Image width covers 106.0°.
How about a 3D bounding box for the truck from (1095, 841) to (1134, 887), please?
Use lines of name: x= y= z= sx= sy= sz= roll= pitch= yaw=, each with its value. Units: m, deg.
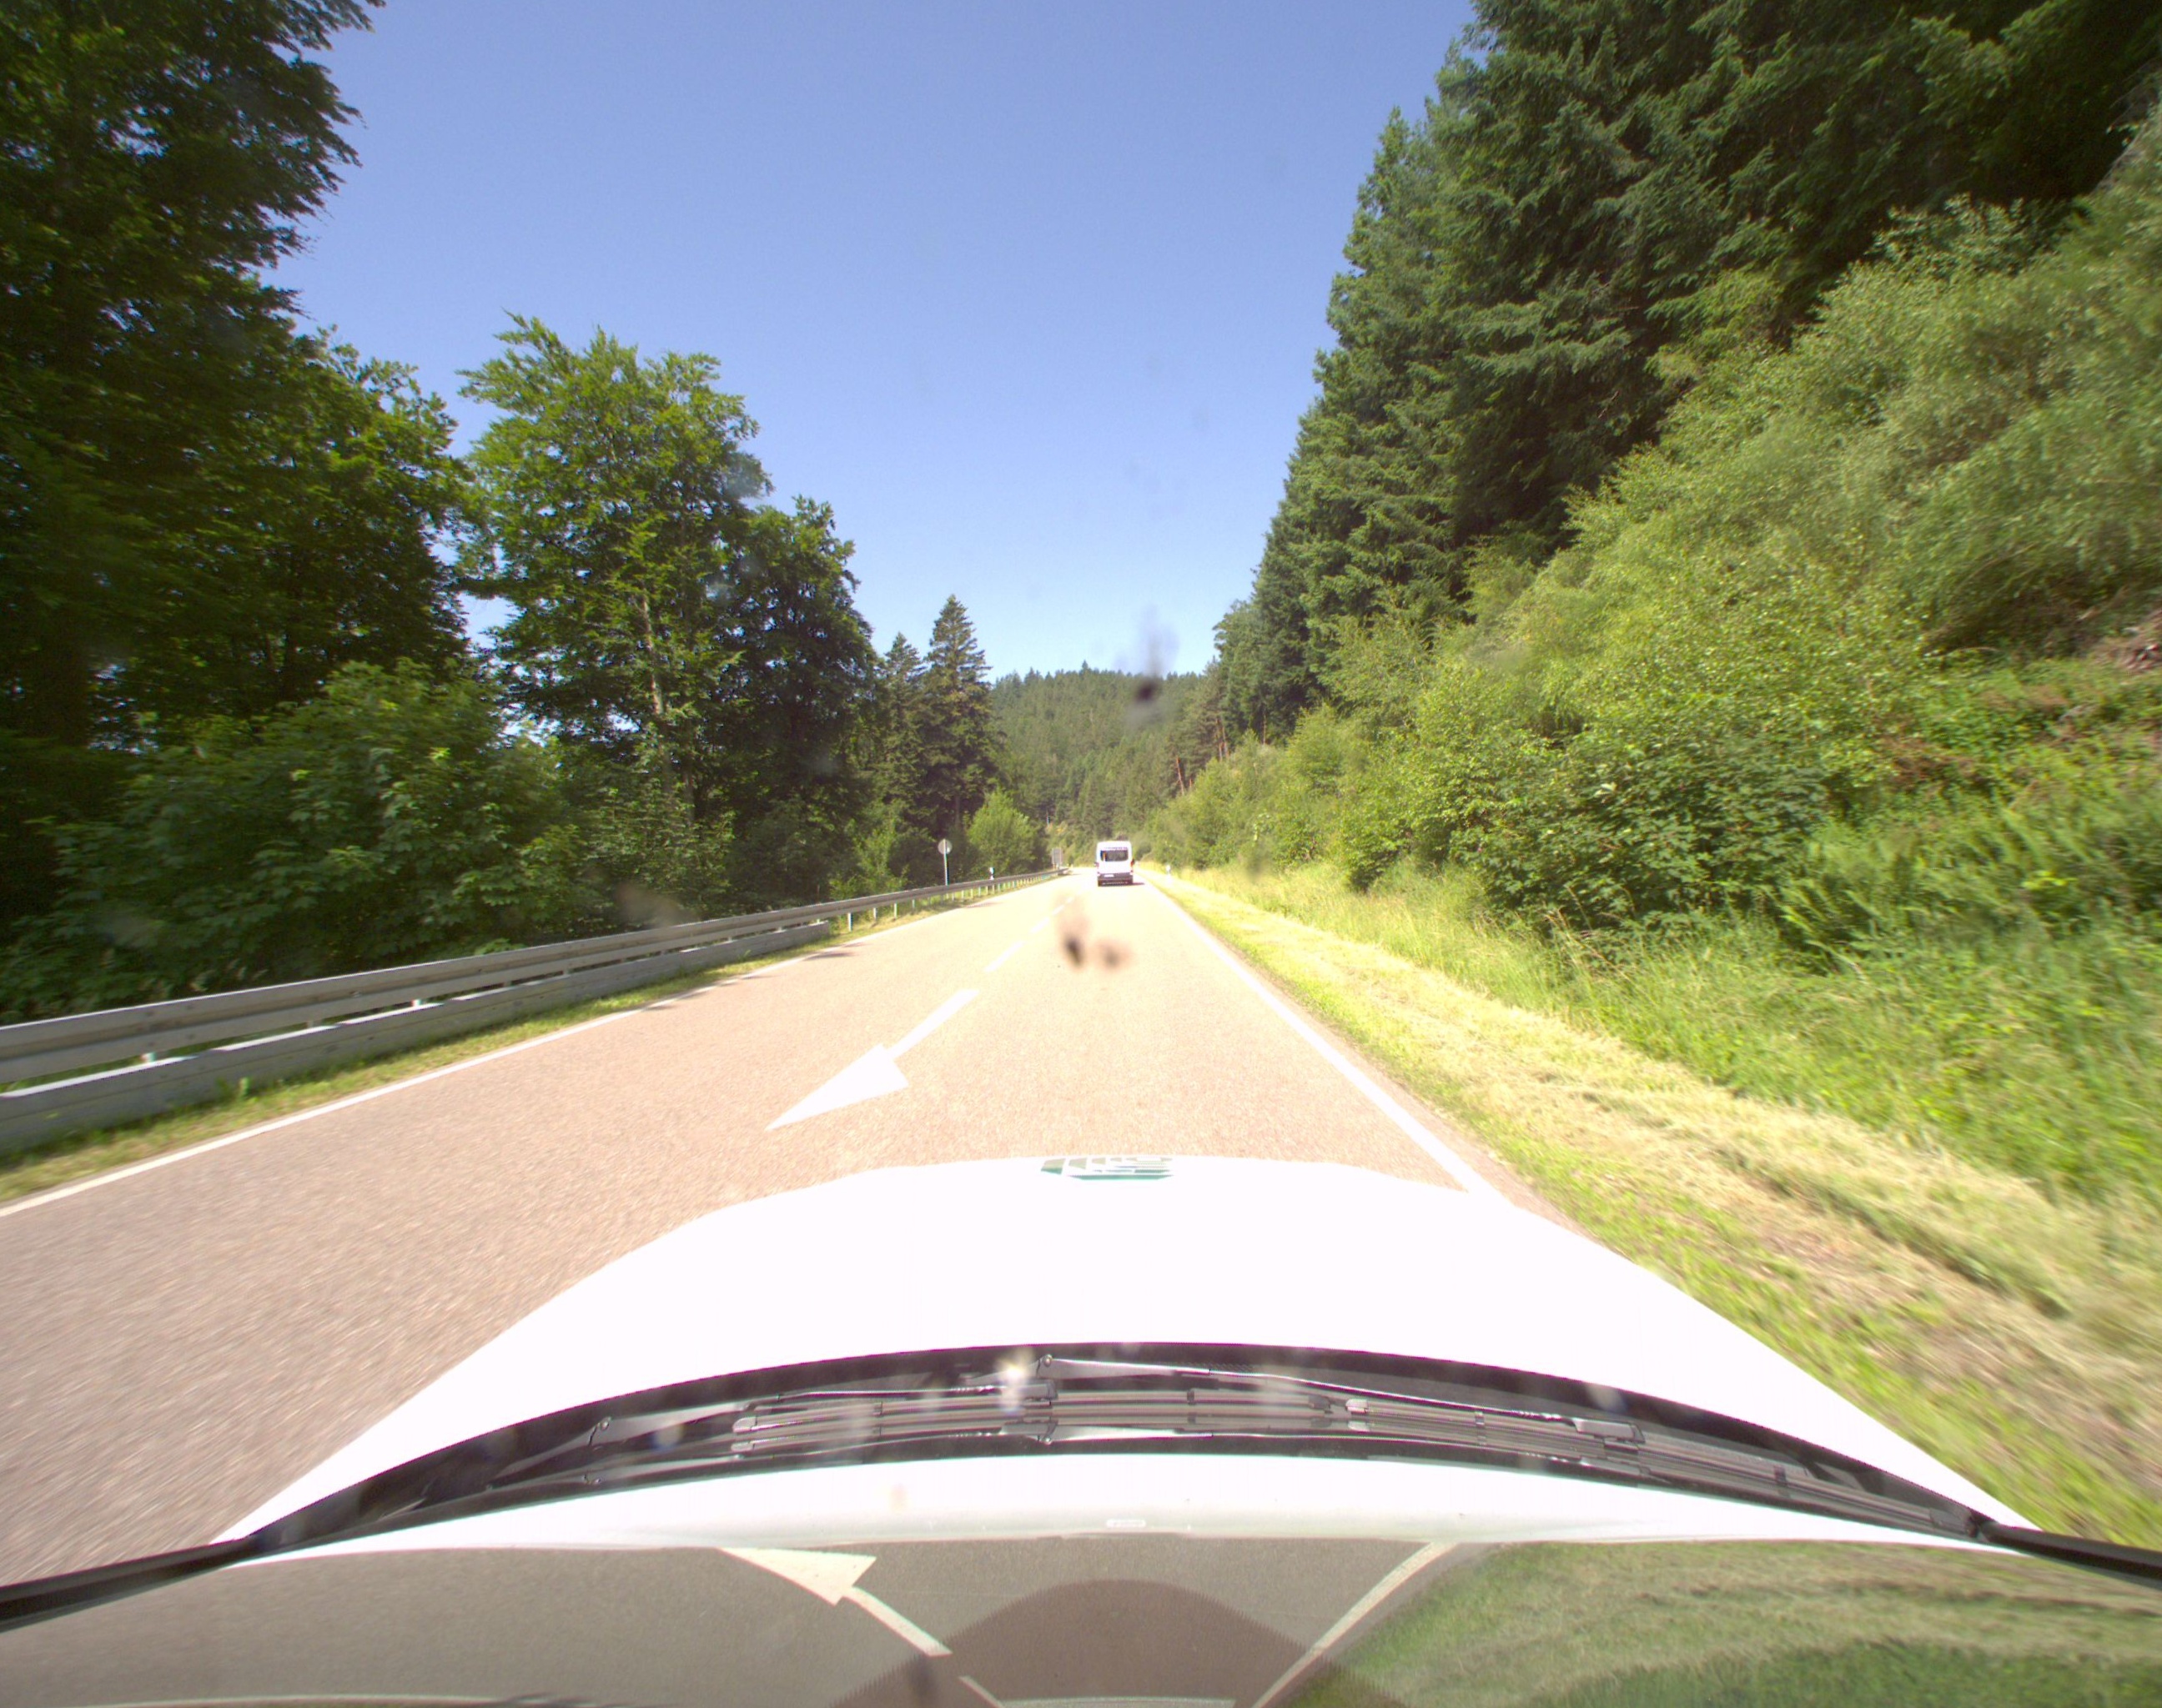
truck: x=1.895 y=0.560 z=46.872 sx=2.076 sy=2.460 sz=4.876 roll=-1 pitch=-1 yaw=1
